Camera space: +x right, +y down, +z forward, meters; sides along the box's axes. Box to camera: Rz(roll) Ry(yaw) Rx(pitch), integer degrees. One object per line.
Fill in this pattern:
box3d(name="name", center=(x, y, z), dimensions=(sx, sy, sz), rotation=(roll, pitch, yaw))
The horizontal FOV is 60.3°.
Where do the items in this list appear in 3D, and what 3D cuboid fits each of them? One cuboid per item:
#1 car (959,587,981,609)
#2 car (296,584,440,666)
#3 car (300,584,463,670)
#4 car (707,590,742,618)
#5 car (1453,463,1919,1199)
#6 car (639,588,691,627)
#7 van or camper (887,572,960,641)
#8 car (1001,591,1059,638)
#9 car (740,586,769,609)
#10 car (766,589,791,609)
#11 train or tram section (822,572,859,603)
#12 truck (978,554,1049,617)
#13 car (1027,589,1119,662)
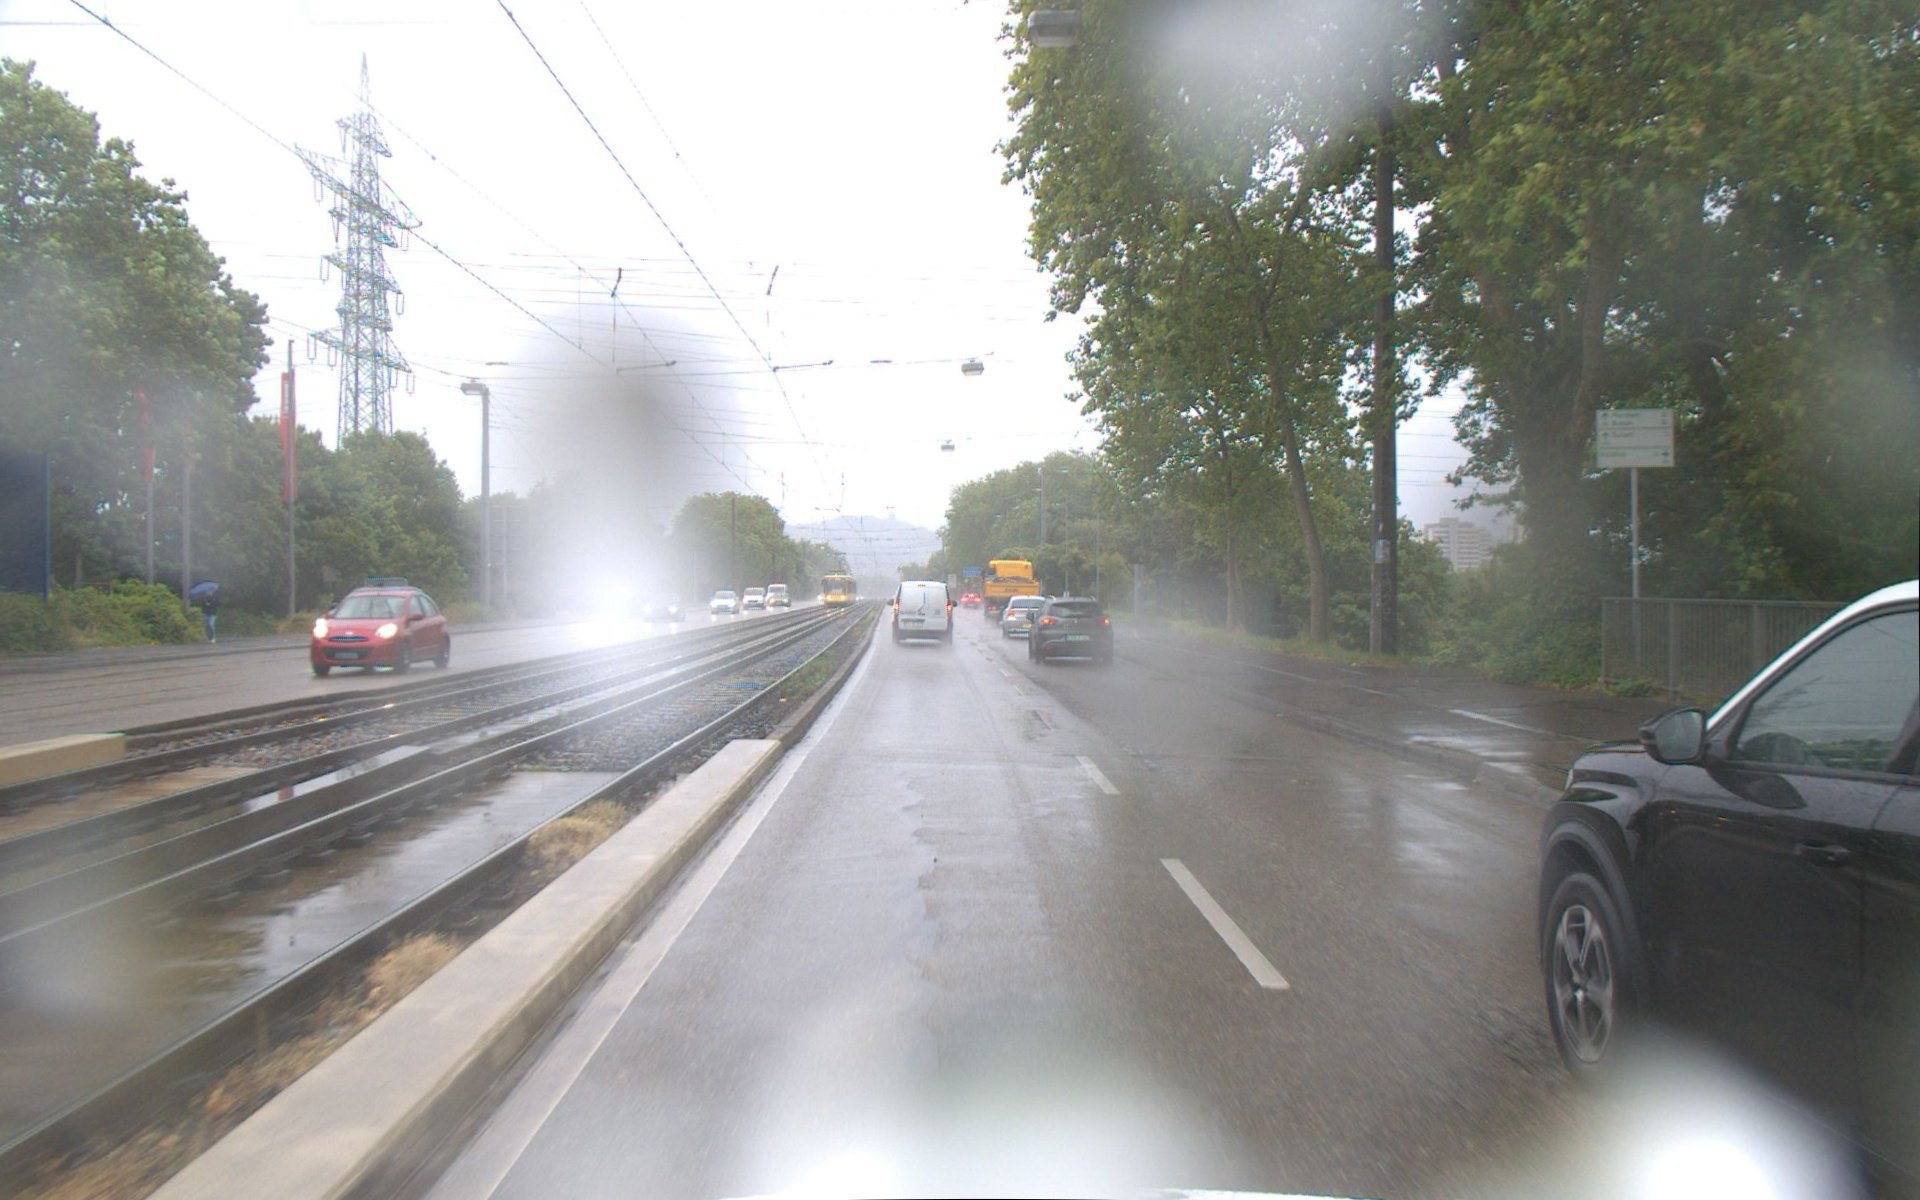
box3d(name="car", center=(0.908, -0.166, 151.079), dimensions=(1.953, 1.937, 4.000), rotation=(1, 1, 0))
box3d(name="car", center=(-14.055, 0.552, 39.514), dimensions=(1.952, 1.847, 4.000), rotation=(0, 1, 0))
box3d(name="car", center=(-10.800, 0.458, 31.163), dimensions=(1.623, 1.512, 4.013), rotation=(0, 1, 1))
box3d(name="car", center=(-17.283, 0.290, 121.543), dimensions=(1.952, 1.937, 4.000), rotation=(1, 1, 0))
box3d(name="car", center=(2.881, 0.596, 3.948), dimensions=(1.861, 1.746, 4.725), rotation=(1, 1, -2))
box3d(name="car", center=(-15.456, 0.390, 86.731), dimensions=(1.952, 1.937, 4.000), rotation=(1, 1, 0))
box3d(name="van or camper", center=(-1.096, 0.159, 47.912), dimensions=(1.954, 1.815, 3.998), rotation=(1, 2, -3))
box3d(name="car", center=(2.367, 0.474, 56.748), dimensions=(1.781, 1.438, 3.779), rotation=(1, 1, 0))
box3d(name="car", center=(-17.627, -0.213, 141.937), dimensions=(1.952, 1.937, 4.000), rotation=(1, 1, 1))
box3d(name="car", center=(-18.070, -0.142, 164.498), dimensions=(1.952, 1.937, 4.000), rotation=(1, 1, 1))
box3d(name="train or tram section", center=(-12.245, -1.323, 170.562), dimensions=(2.792, 2.944, 14.006), rotation=(-1, 1, 0))
box3d(name="truck", center=(2.462, -0.708, 78.747), dimensions=(3.049, 2.821, 6.328), rotation=(1, 1, -1))
box3d(name="car", center=(2.465, 0.529, 36.839), dimensions=(1.781, 1.438, 3.779), rotation=(1, 1, 0))
